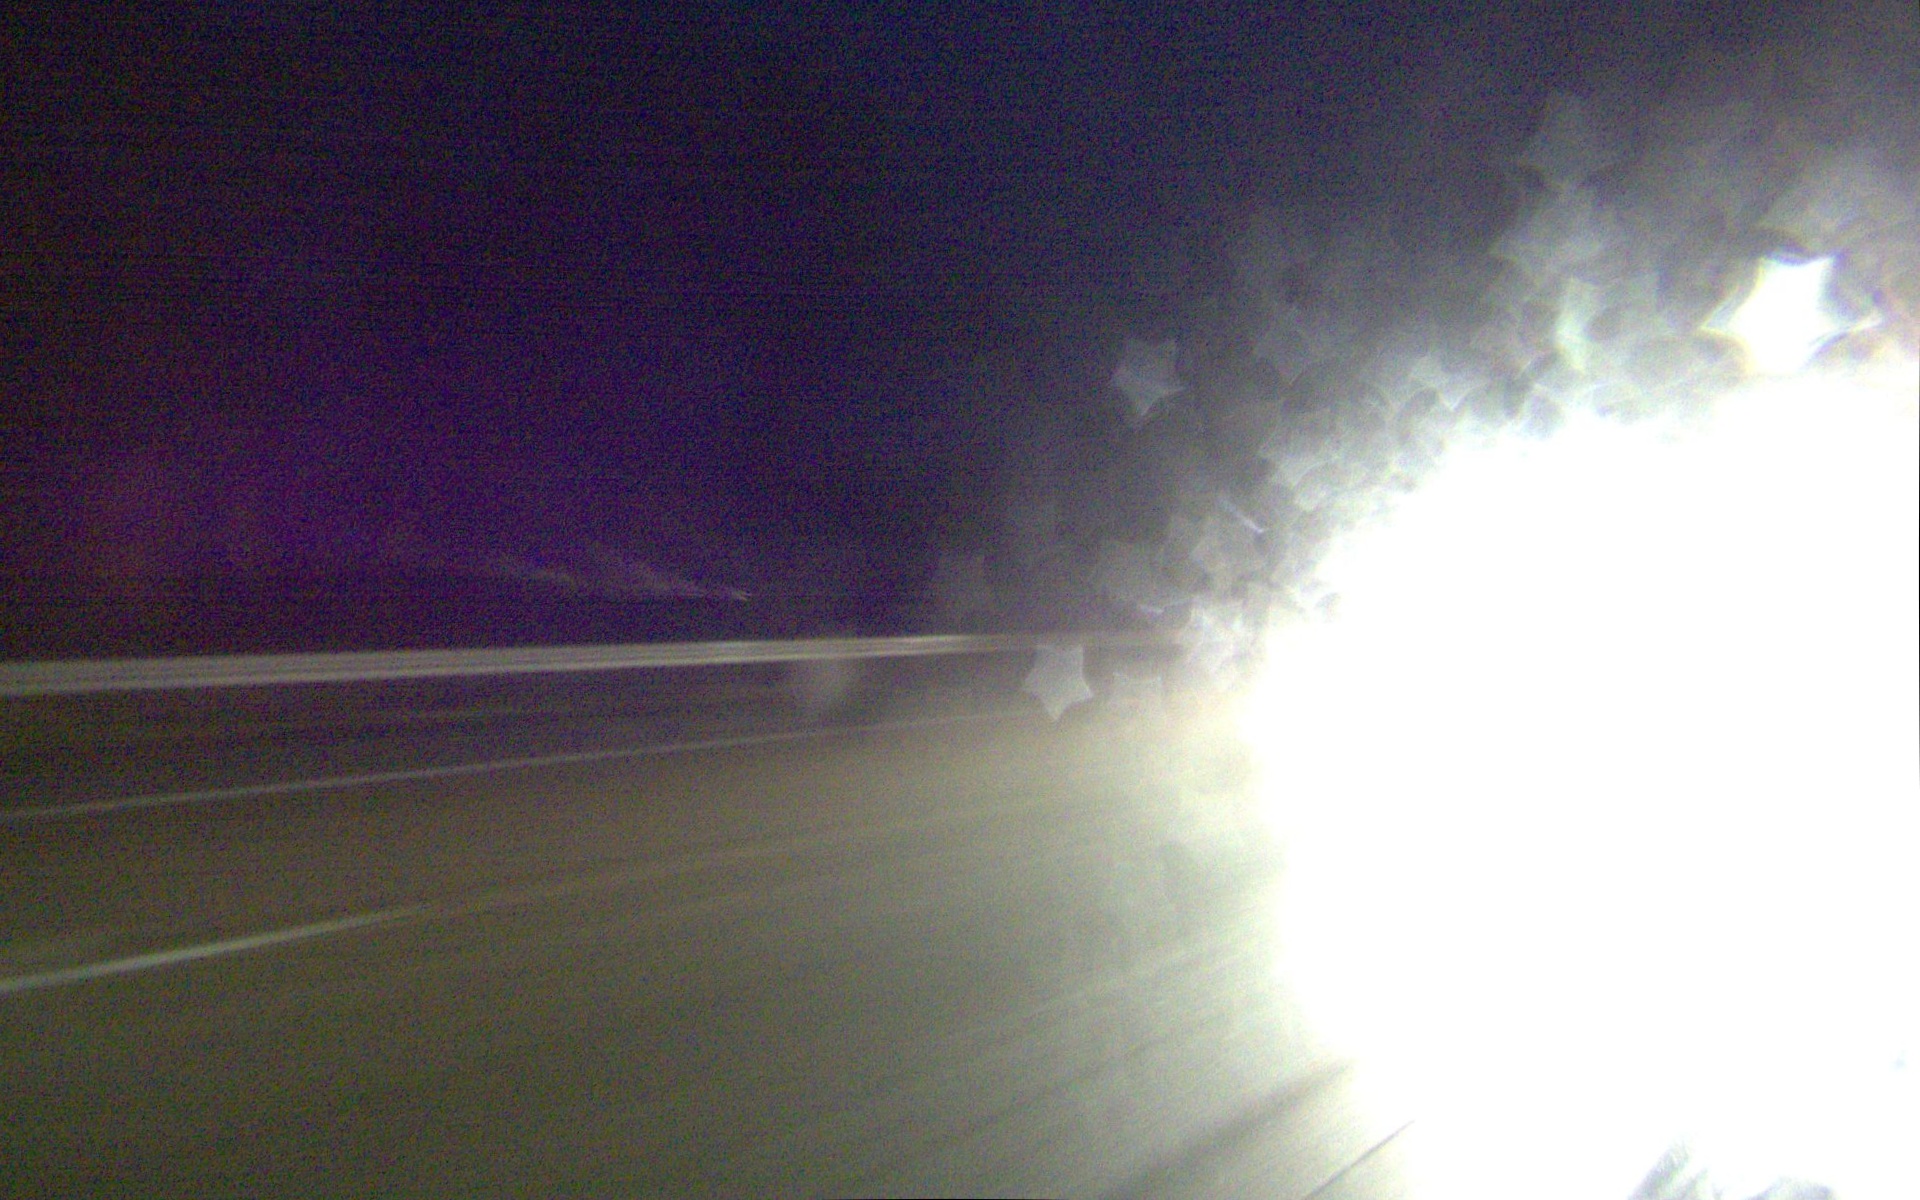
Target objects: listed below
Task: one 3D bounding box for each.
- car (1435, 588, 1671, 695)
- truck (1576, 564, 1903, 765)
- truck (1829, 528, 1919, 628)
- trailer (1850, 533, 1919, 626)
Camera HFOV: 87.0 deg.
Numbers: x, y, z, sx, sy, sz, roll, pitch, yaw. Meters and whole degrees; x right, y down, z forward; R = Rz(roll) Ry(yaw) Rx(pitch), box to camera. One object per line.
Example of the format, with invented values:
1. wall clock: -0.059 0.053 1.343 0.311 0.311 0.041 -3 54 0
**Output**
1. car: 9.868 0.589 16.637 5.271 1.498 1.746 0 0 -41
2. truck: 8.529 0.521 10.903 4.769 1.717 1.847 -1 0 -40
3. truck: 41.516 -0.938 45.242 6.888 4.155 2.865 0 0 -39
4. trailer: 47.367 -1.004 50.058 13.397 4.149 2.871 -1 0 -39
